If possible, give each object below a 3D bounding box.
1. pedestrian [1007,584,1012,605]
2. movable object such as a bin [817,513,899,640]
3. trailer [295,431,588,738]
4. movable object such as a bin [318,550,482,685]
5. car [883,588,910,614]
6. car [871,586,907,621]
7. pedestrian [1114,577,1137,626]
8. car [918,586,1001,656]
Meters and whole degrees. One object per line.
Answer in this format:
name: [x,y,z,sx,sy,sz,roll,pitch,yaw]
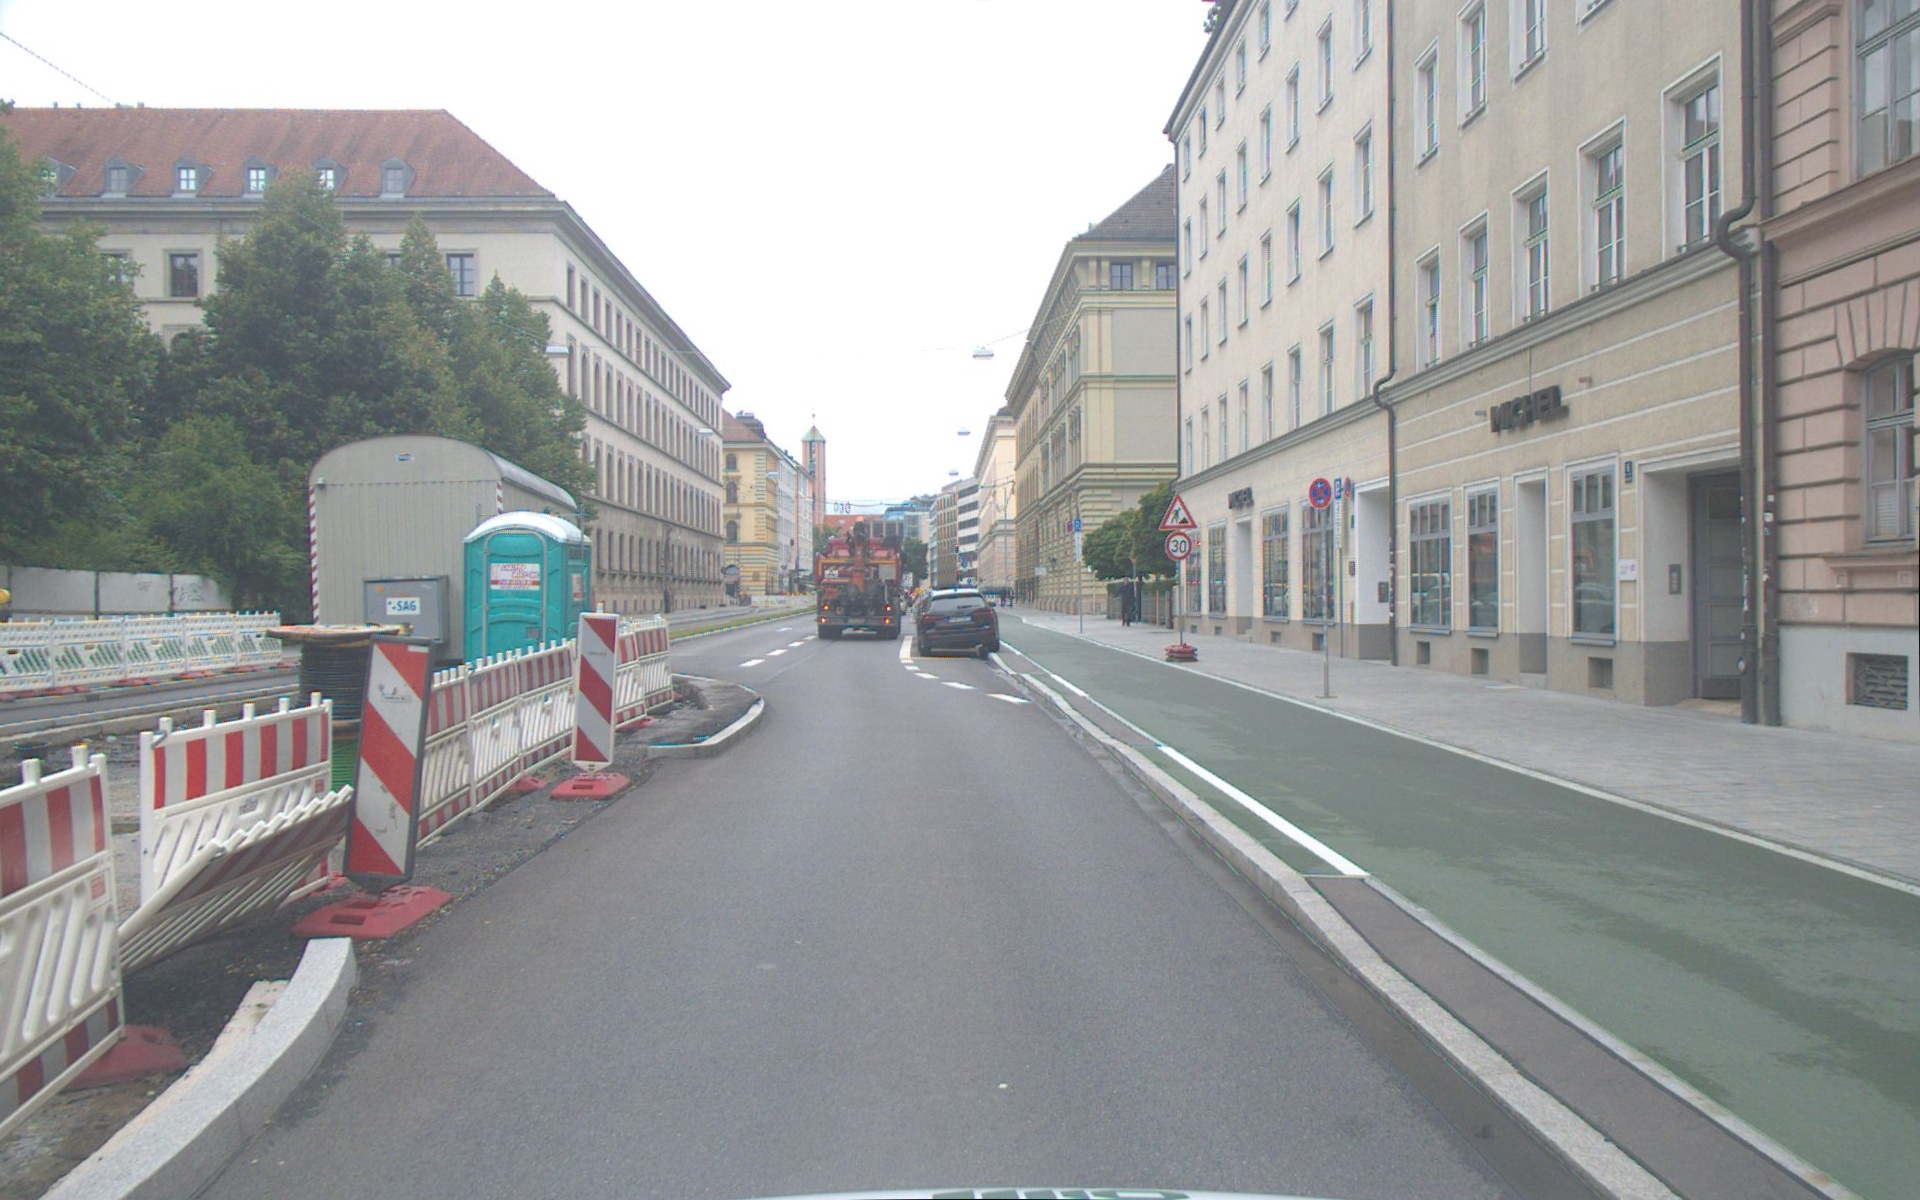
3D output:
pedestrian: [4.024,-0.440,134.692,0.330,1.701,0.440,-1,0,0]
movable object such as a bin: [-3.070,-0.707,50.849,2.375,3.674,5.848,0,0,-3]
trailer: [-6.435,-0.203,21.623,2.184,3.300,7.509,-1,0,-6]
movable object such as a bin: [-11.559,0.321,34.454,1.884,2.617,4.492,0,1,0]
car: [-3.727,0.052,97.452,1.577,1.521,3.423,-1,0,-2]
car: [-3.217,0.156,75.613,1.577,1.521,3.423,-1,0,-2]
pedestrian: [6.284,0.049,62.917,0.774,1.868,0.777,-1,0,0]
car: [-0.069,0.448,38.945,1.765,1.506,4.685,-1,1,-2]
